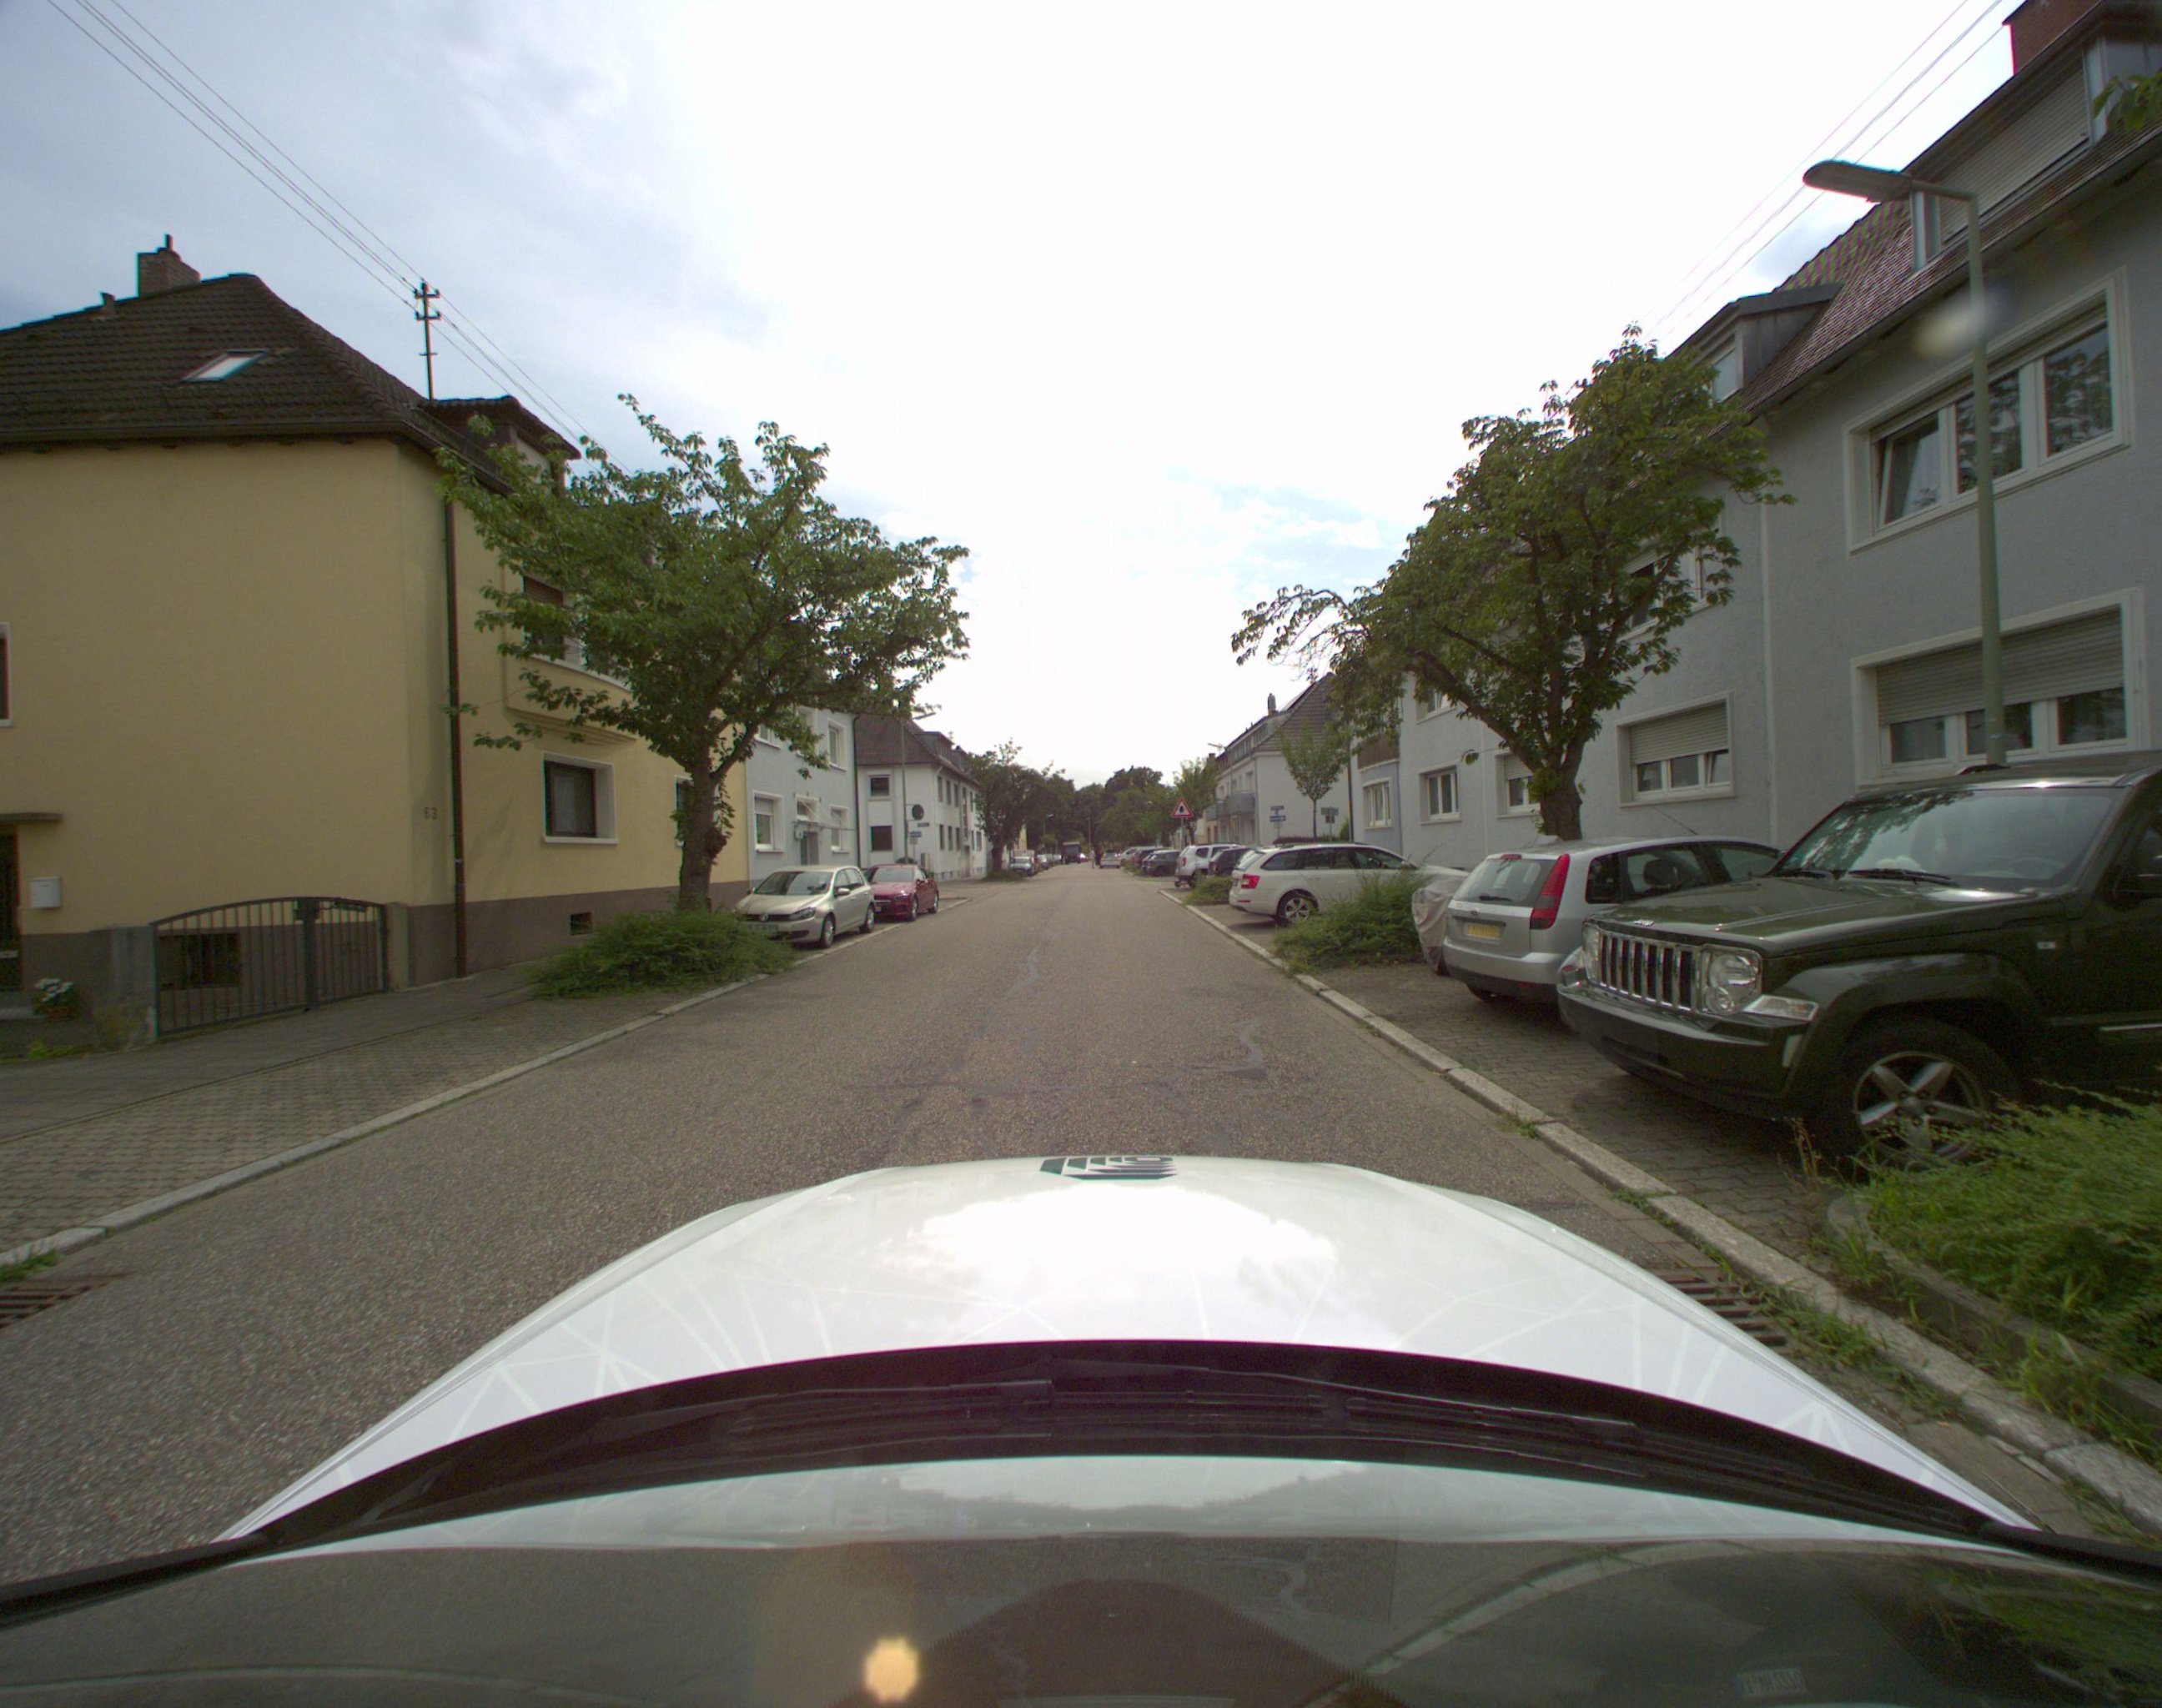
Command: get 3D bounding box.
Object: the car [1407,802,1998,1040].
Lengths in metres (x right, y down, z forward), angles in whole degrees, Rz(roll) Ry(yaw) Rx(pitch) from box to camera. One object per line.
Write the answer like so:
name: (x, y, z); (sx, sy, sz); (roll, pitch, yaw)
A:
car: (4.941, 0.474, 6.840); (3.617, 1.454, 1.771); (-4, 0, -3)

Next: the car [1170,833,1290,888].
car: (5.278, 0.226, 29.277); (3.909, 1.633, 1.869); (-4, 0, 1)

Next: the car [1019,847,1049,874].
car: (-3.756, 0.505, 65.498); (1.987, 2.013, 4.521); (-2, 0, 1)

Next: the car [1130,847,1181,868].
car: (6.069, 0.304, 66.904); (3.973, 1.438, 1.723); (-4, 0, 0)

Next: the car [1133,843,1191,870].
car: (5.746, 0.194, 58.101); (3.972, 1.618, 1.868); (-4, 0, 1)

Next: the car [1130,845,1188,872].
car: (5.278, 0.289, 55.296); (3.733, 1.564, 1.774); (-4, 0, 1)

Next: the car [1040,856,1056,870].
car: (-3.555, 0.946, 87.978); (1.534, 1.301, 3.719); (-4, 0, -1)

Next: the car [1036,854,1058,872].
car: (-2.926, 0.764, 71.278); (1.646, 1.461, 3.552); (-4, 0, 0)

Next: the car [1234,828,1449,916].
car: (5.463, 0.364, 17.437); (3.973, 1.508, 1.713); (-4, 0, 1)

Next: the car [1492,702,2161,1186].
car: (4.865, 0.280, 4.173); (4.506, 1.858, 1.794); (-4, 0, 3)

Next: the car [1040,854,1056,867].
car: (-3.882, 0.712, 96.925); (1.646, 1.377, 3.722); (-4, 0, 1)

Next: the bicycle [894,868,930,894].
bicycle: (-8.462, 1.353, 40.830); (1.630, 1.179, 0.434); (-4, 0, -4)

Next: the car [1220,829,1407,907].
car: (5.524, 0.319, 19.694); (3.973, 1.508, 1.713); (-4, 0, 1)

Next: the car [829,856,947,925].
car: (-4.989, 0.885, 21.694); (1.870, 1.486, 4.513); (-4, 0, 1)

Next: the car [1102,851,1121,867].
car: (2.903, 0.489, 76.850); (1.680, 1.354, 3.828); (-4, 0, 2)

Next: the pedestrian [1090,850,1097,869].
pedestrian: (1.173, 0.537, 76.227); (0.520, 1.704, 0.445); (-4, 0, 4)

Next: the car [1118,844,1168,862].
car: (6.484, -0.120, 85.253); (4.961, 1.518, 1.768); (-4, 0, -1)

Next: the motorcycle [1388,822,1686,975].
motorcycle: (4.937, 0.454, 8.954); (2.694, 1.464, 1.030); (-2, 0, -3)

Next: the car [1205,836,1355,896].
car: (5.850, 0.338, 24.279); (3.973, 1.421, 1.713); (-4, 0, 1)

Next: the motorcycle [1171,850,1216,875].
motorcycle: (5.862, 0.446, 42.531); (2.187, 1.210, 0.939); (-2, 0, -1)

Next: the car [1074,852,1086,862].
car: (-0.086, 0.444, 127.512); (1.748, 1.342, 4.000); (-3, 0, 0)

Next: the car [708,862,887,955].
car: (-5.262, 0.936, 15.794); (1.765, 1.392, 4.277); (3, 0, 2)

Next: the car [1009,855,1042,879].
car: (-4.030, 0.930, 59.658); (1.755, 1.554, 3.735); (-4, 0, 4)

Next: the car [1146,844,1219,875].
car: (5.550, 0.302, 44.890); (3.733, 1.365, 1.774); (-4, 0, 1)

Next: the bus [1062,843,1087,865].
bus: (-0.889, -0.038, 116.067); (2.993, 2.761, 8.927); (-4, 0, 2)

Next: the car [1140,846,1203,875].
car: (5.253, 0.397, 47.582); (3.505, 1.412, 1.559); (-4, 0, 1)

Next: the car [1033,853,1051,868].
car: (-3.966, 0.631, 82.920); (1.647, 1.377, 3.719); (-4, 0, -1)

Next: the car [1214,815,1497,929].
car: (4.961, 0.311, 15.226); (4.597, 1.664, 1.893); (-4, 0, 1)
